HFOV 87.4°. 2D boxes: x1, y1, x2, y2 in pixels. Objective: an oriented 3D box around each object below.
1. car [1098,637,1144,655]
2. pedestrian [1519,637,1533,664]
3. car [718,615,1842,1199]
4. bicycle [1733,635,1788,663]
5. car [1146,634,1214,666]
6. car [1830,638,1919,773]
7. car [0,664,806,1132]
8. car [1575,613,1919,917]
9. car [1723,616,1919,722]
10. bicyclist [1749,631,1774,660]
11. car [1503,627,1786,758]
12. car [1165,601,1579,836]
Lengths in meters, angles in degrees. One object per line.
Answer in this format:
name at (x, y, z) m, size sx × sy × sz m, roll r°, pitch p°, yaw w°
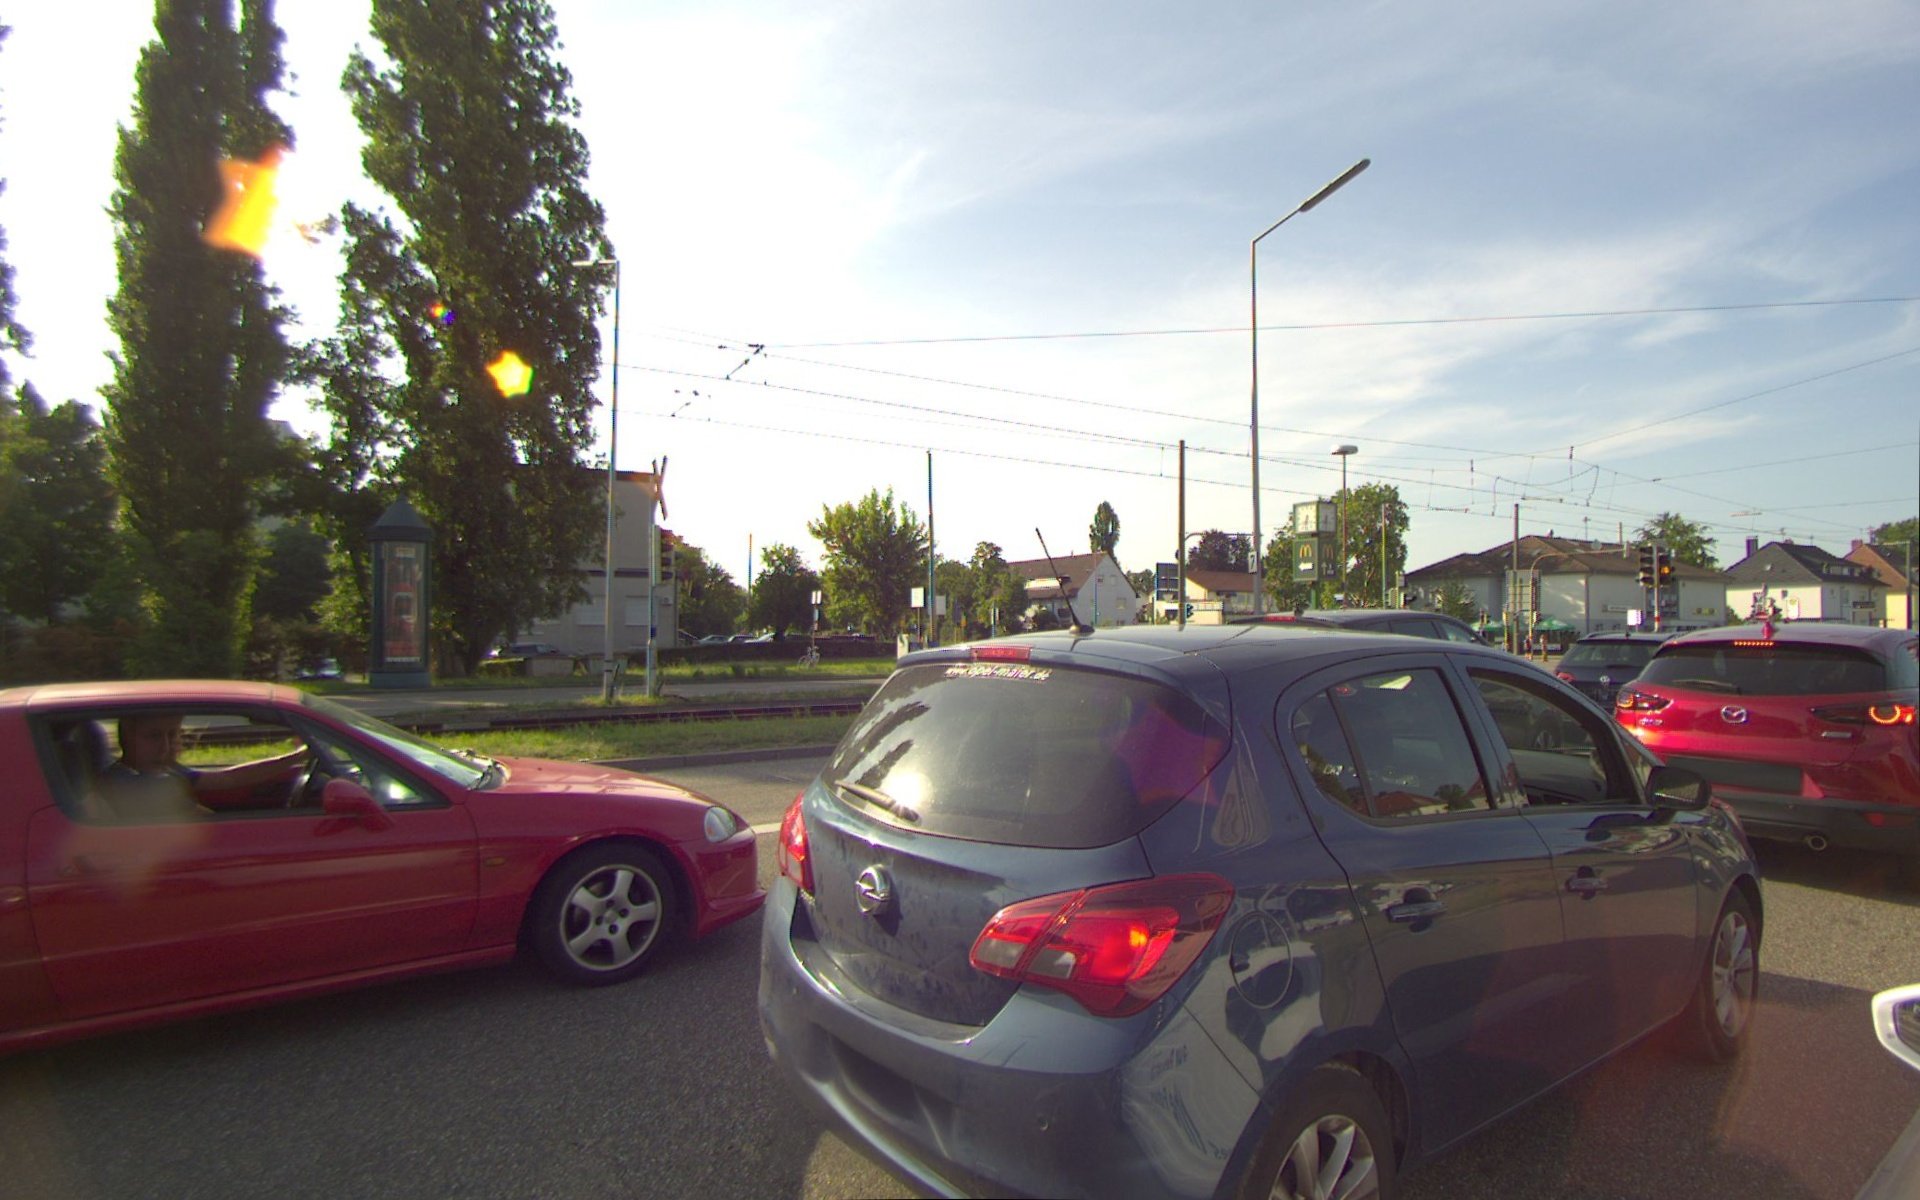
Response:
car at (15.968, 4.555, 99.839) m, size 4.168 × 1.706 × 1.985 m, roll 2°, pitch -1°, yaw -29°
pedestrian at (34.484, 3.089, 61.226) m, size 0.533 × 1.620 × 0.509 m, roll 1°, pitch -2°, yaw -31°
car at (1.453, 0.843, 3.554) m, size 4.184 × 1.525 × 1.729 m, roll 1°, pitch -2°, yaw -38°
bicycle at (40.796, 2.475, 51.202) m, size 1.101 × 1.365 × 2.054 m, roll 2°, pitch -2°, yaw -43°
car at (12.652, 2.862, 58.042) m, size 1.503 × 1.816 × 3.965 m, roll 1°, pitch -2°, yaw -33°
car at (11.730, 1.145, 11.632) m, size 3.789 × 1.415 × 1.631 m, roll 1°, pitch -3°, yaw -35°
car at (-2.721, 0.948, 4.041) m, size 3.811 × 1.222 × 1.719 m, roll 1°, pitch -1°, yaw -37°
car at (6.051, 0.905, 7.047) m, size 3.942 × 1.572 × 1.694 m, roll 1°, pitch -2°, yaw -38°
car at (15.359, 1.163, 17.826) m, size 4.696 × 1.673 × 1.497 m, roll 1°, pitch -3°, yaw -35°
bicyclist at (40.825, 2.318, 51.166) m, size 1.129 × 1.450 × 0.875 m, roll 2°, pitch -2°, yaw -44°
car at (9.452, 1.138, 13.751) m, size 4.507 × 1.528 × 1.689 m, roll 1°, pitch -2°, yaw -35°
car at (3.882, 0.909, 9.195) m, size 4.048 × 1.693 × 1.750 m, roll 1°, pitch -2°, yaw -38°
